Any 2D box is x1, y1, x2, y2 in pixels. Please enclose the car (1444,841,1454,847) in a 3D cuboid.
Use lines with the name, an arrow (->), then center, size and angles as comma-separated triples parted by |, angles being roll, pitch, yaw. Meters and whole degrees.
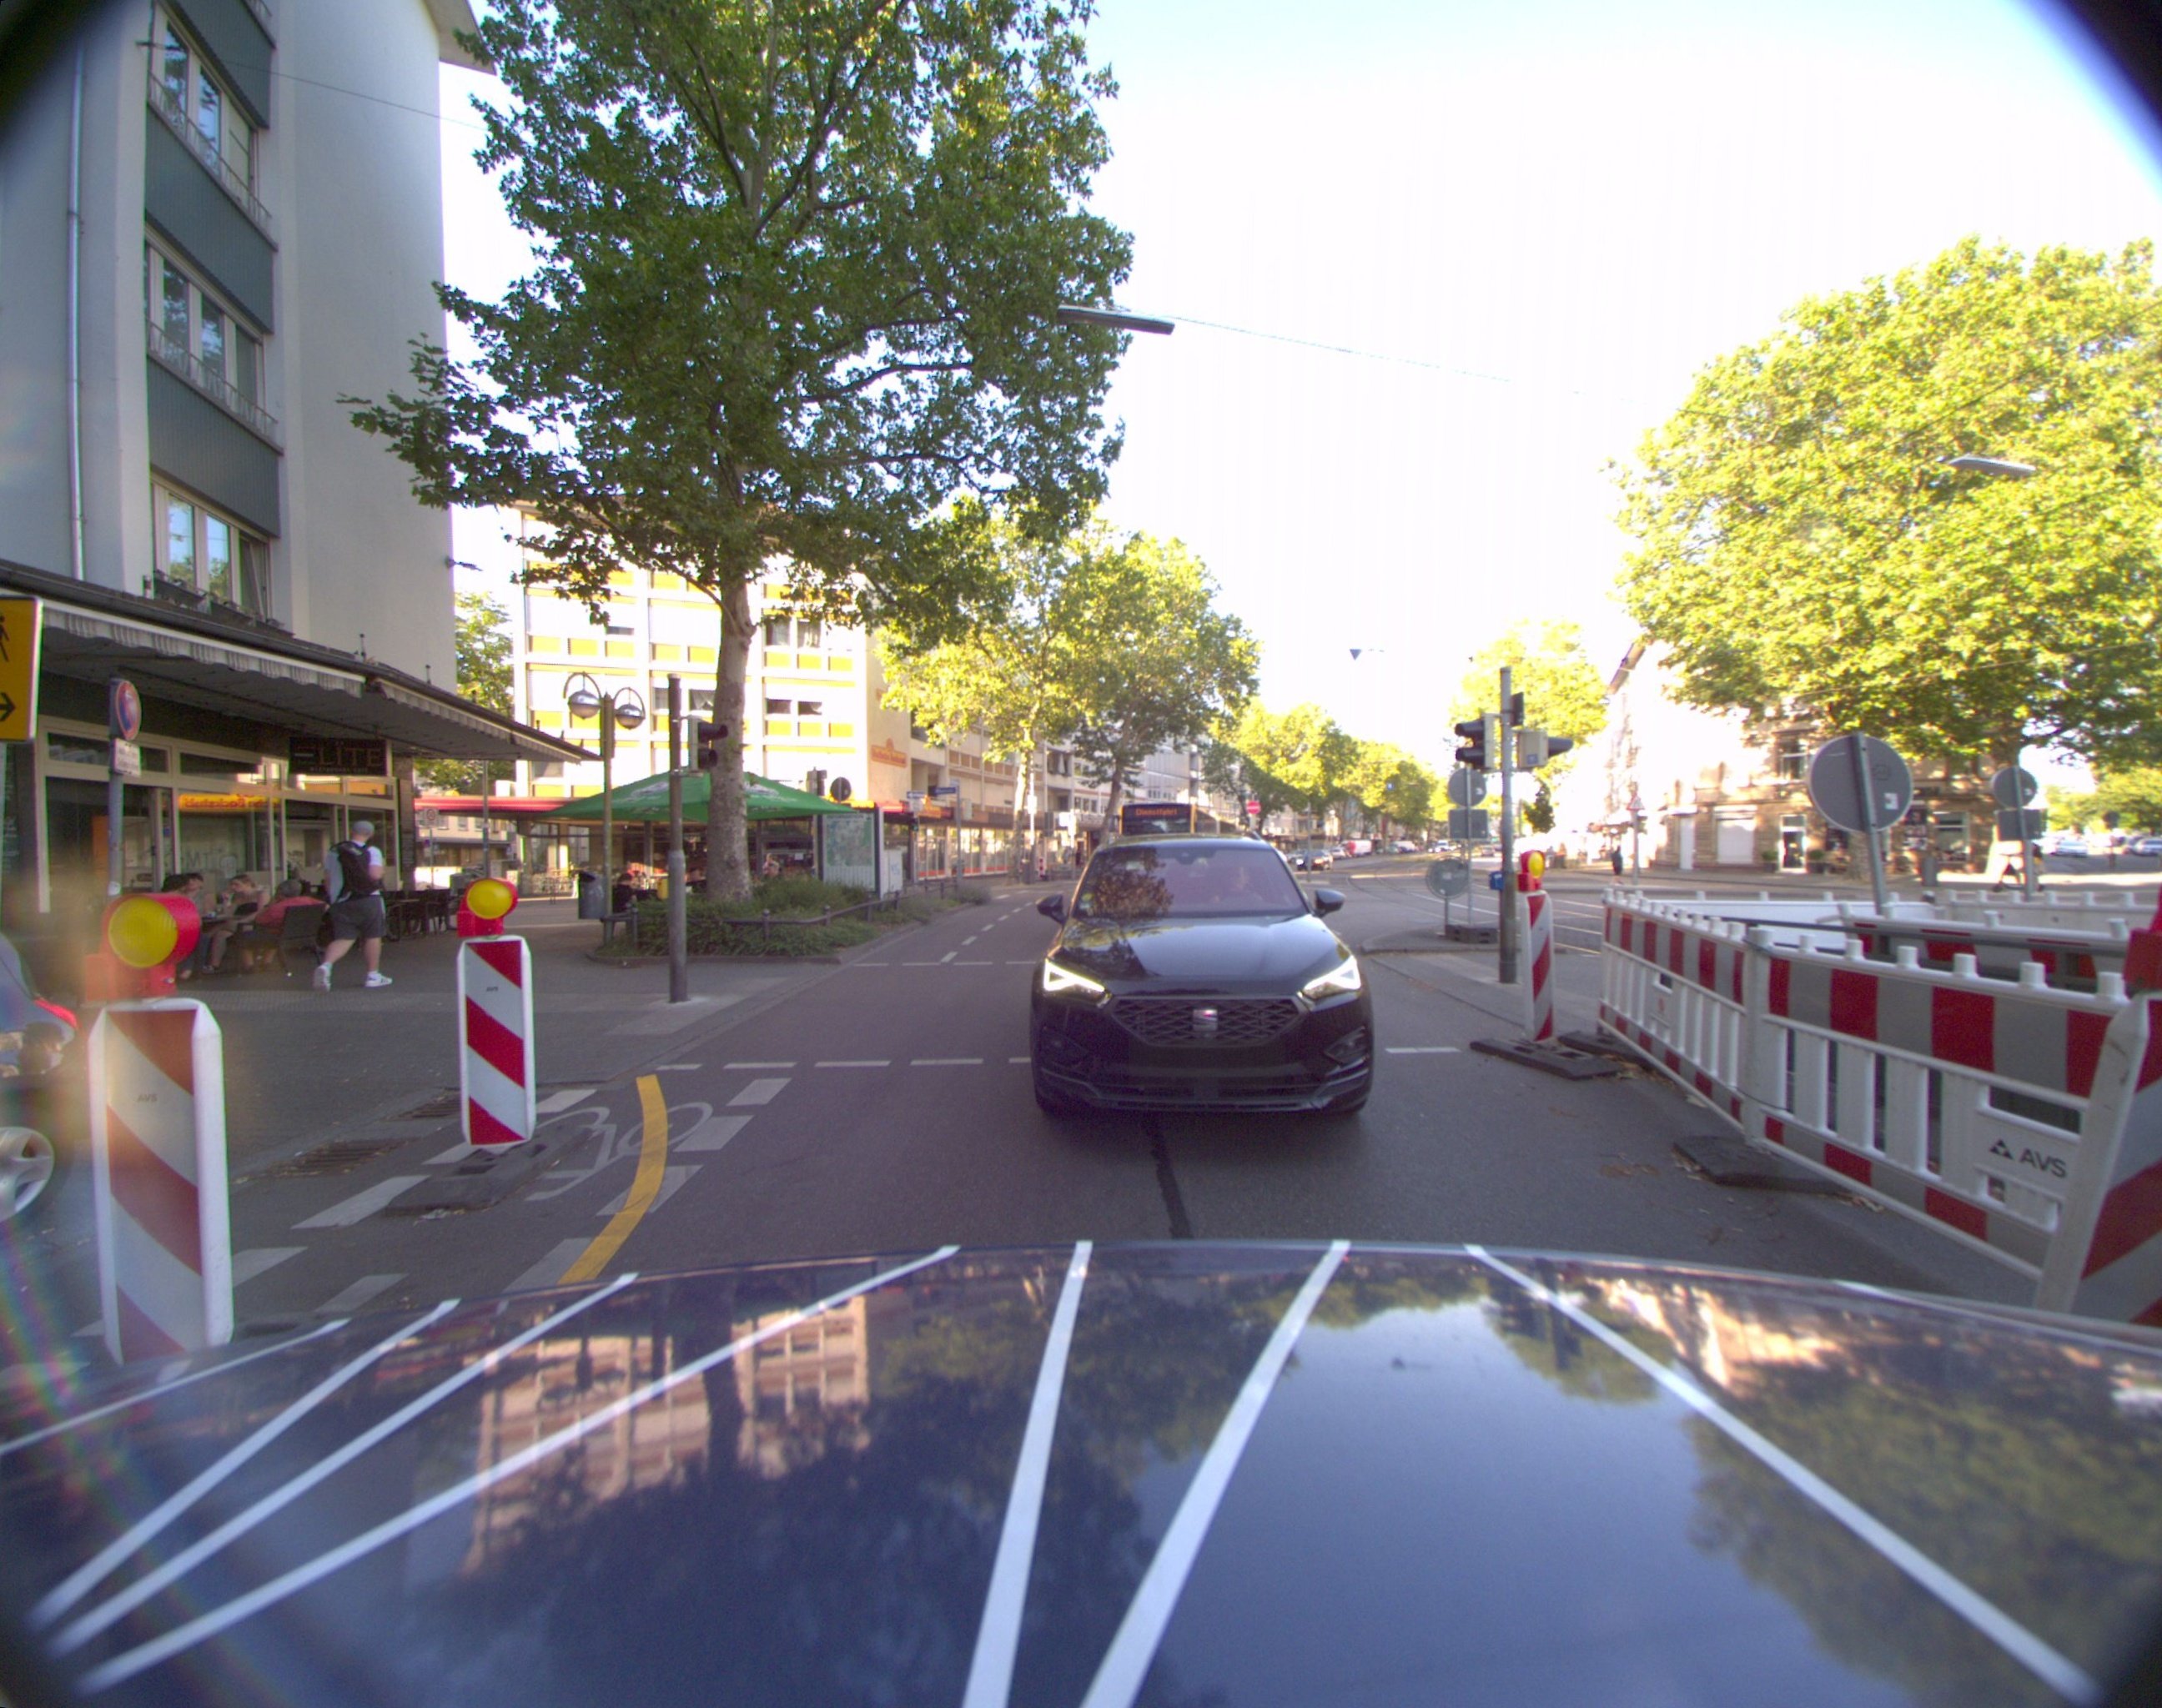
car -> 88.203, -2.472, 182.018 | 1.700, 1.462, 3.771 | 0, 1, 31

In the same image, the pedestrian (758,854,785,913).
pedestrian -> -8.786, 0.832, 21.601 | 0.629, 1.628, 0.531 | -1, 1, -15

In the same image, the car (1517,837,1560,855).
car -> 52.279, -0.963, 86.847 | 4.001, 2.002, 1.997 | -1, 1, -13

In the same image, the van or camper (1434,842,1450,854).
van or camper -> 78.367, -1.343, 165.092 | 2.420, 2.702, 6.144 | 0, 1, 32

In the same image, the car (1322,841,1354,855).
car -> 36.426, -0.848, 107.590 | 3.994, 2.002, 2.001 | -1, 1, 8

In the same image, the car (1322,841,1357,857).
car -> 33.479, -0.695, 98.468 | 3.994, 2.002, 2.001 | -1, 1, 8

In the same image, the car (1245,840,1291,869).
car -> 13.576, 0.021, 54.973 | 1.994, 2.002, 4.008 | 0, 1, 33

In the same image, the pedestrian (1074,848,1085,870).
pedestrian -> -0.089, 0.338, 54.227 | 0.627, 1.577, 0.532 | 0, 1, 20

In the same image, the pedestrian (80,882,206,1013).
pedestrian -> -10.204, 0.981, 8.274 | 0.789, 1.299, 0.701 | 0, 1, 28

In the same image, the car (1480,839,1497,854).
car -> 56.019, -1.090, 104.386 | 1.995, 2.002, 4.007 | 0, 1, 29

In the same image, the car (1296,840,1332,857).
car -> 28.365, -0.693, 92.581 | 3.994, 2.002, 2.001 | -1, 1, 8

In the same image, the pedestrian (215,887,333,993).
pedestrian -> -9.855, 1.018, 9.290 | 0.877, 1.186, 0.701 | 0, 1, 24

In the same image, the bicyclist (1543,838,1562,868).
bicyclist -> 31.610, -0.077, 50.938 | 0.854, 2.002, 0.984 | 0, 1, 14

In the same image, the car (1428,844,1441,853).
car -> 68.041, -1.153, 146.275 | 1.836, 1.692, 4.138 | 0, 1, 31

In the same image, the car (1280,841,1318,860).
car -> 24.386, -0.402, 85.099 | 3.991, 2.002, 2.003 | 0, 1, 18

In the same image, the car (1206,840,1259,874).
car -> 9.205, 0.151, 45.953 | 1.995, 2.002, 4.105 | 0, 1, 29

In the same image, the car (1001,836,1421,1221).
car -> 0.605, 0.759, 5.358 | 1.841, 1.696, 4.000 | -1, 1, 1

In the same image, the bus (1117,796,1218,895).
bus -> 3.476, -0.289, 28.215 | 2.718, 3.088, 8.629 | 0, 1, 13

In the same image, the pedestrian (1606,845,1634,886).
pedestrian -> 20.298, 0.428, 28.639 | 0.603, 1.524, 0.745 | 0, 1, 12

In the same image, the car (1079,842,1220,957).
car -> 1.010, 0.641, 12.940 | 1.998, 1.634, 4.075 | -1, 1, 1

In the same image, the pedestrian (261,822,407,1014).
pedestrian -> -8.007, 0.651, 8.189 | 0.648, 1.948, 0.889 | 0, 1, 0

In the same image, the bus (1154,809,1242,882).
bus -> 5.874, -0.397, 36.696 | 2.717, 3.088, 8.608 | 0, 1, 19

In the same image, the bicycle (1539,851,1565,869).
bicycle -> 31.614, 0.380, 51.034 | 0.850, 1.186, 2.468 | 0, 1, 15

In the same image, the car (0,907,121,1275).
car -> -5.228, 0.972, 1.639 | 1.771, 1.459, 3.610 | 2, 0, -2

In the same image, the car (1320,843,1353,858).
car -> 34.715, -0.502, 103.390 | 3.994, 2.002, 2.001 | -1, 1, 8

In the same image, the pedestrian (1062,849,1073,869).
pedestrian -> -0.987, 0.351, 54.437 | 0.627, 1.429, 0.532 | 0, 1, 20

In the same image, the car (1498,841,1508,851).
car -> 85.181, -1.602, 153.308 | 1.686, 1.841, 4.007 | 0, 1, 29

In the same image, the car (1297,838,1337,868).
car -> 16.548, -0.074, 53.210 | 1.995, 2.002, 4.007 | 0, 1, 27

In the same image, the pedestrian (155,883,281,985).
pedestrian -> -10.789, 0.980, 9.527 | 0.647, 1.186, 0.792 | 0, 1, 7
